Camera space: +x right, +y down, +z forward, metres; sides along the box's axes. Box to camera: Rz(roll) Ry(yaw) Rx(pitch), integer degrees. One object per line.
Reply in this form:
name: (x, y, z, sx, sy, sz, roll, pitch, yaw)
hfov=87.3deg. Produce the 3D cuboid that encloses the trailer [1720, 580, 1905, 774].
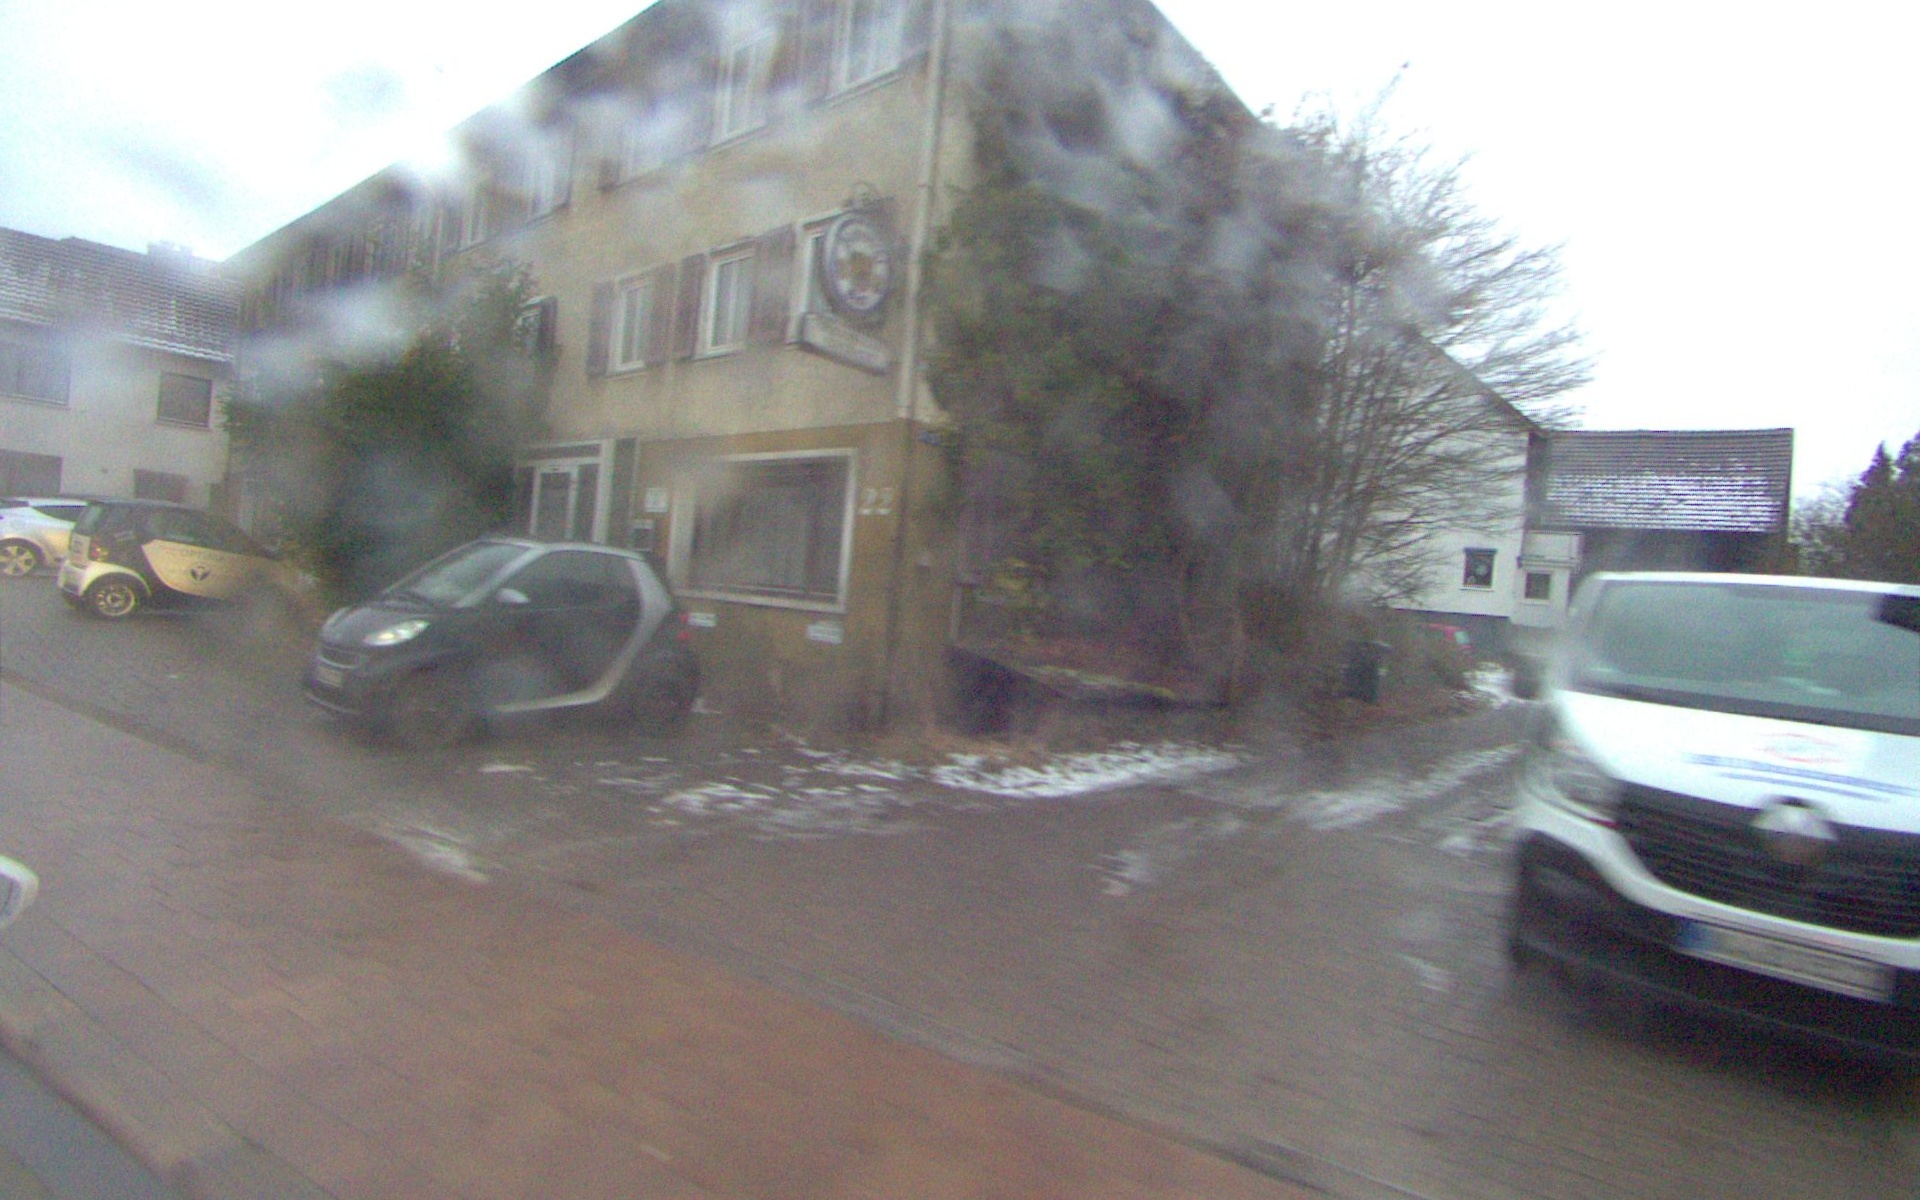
trailer: (13.338, 1.056, 15.691, 1.815, 2.552, 3.972, 6, 4, 43)

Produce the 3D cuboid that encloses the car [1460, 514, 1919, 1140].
car: (4.320, 0.817, 5.314, 1.908, 1.914, 4.974, 7, 2, 38)

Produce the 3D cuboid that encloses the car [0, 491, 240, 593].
car: (-15.668, -1.051, 18.251, 1.726, 1.493, 3.892, 6, 1, 41)

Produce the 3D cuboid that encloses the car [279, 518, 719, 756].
car: (-3.515, 0.279, 7.968, 1.406, 1.493, 2.760, 6, 1, 38)

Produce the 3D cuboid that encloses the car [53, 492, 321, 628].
car: (-10.589, -0.514, 13.876, 1.528, 1.567, 2.580, 7, 2, 38)

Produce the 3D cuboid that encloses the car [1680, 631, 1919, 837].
car: (9.144, 1.249, 10.737, 1.855, 1.644, 3.975, 6, 2, 42)

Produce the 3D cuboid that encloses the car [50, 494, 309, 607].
car: (-12.634, -0.765, 16.391, 1.528, 1.493, 3.058, 6, 1, 41)
